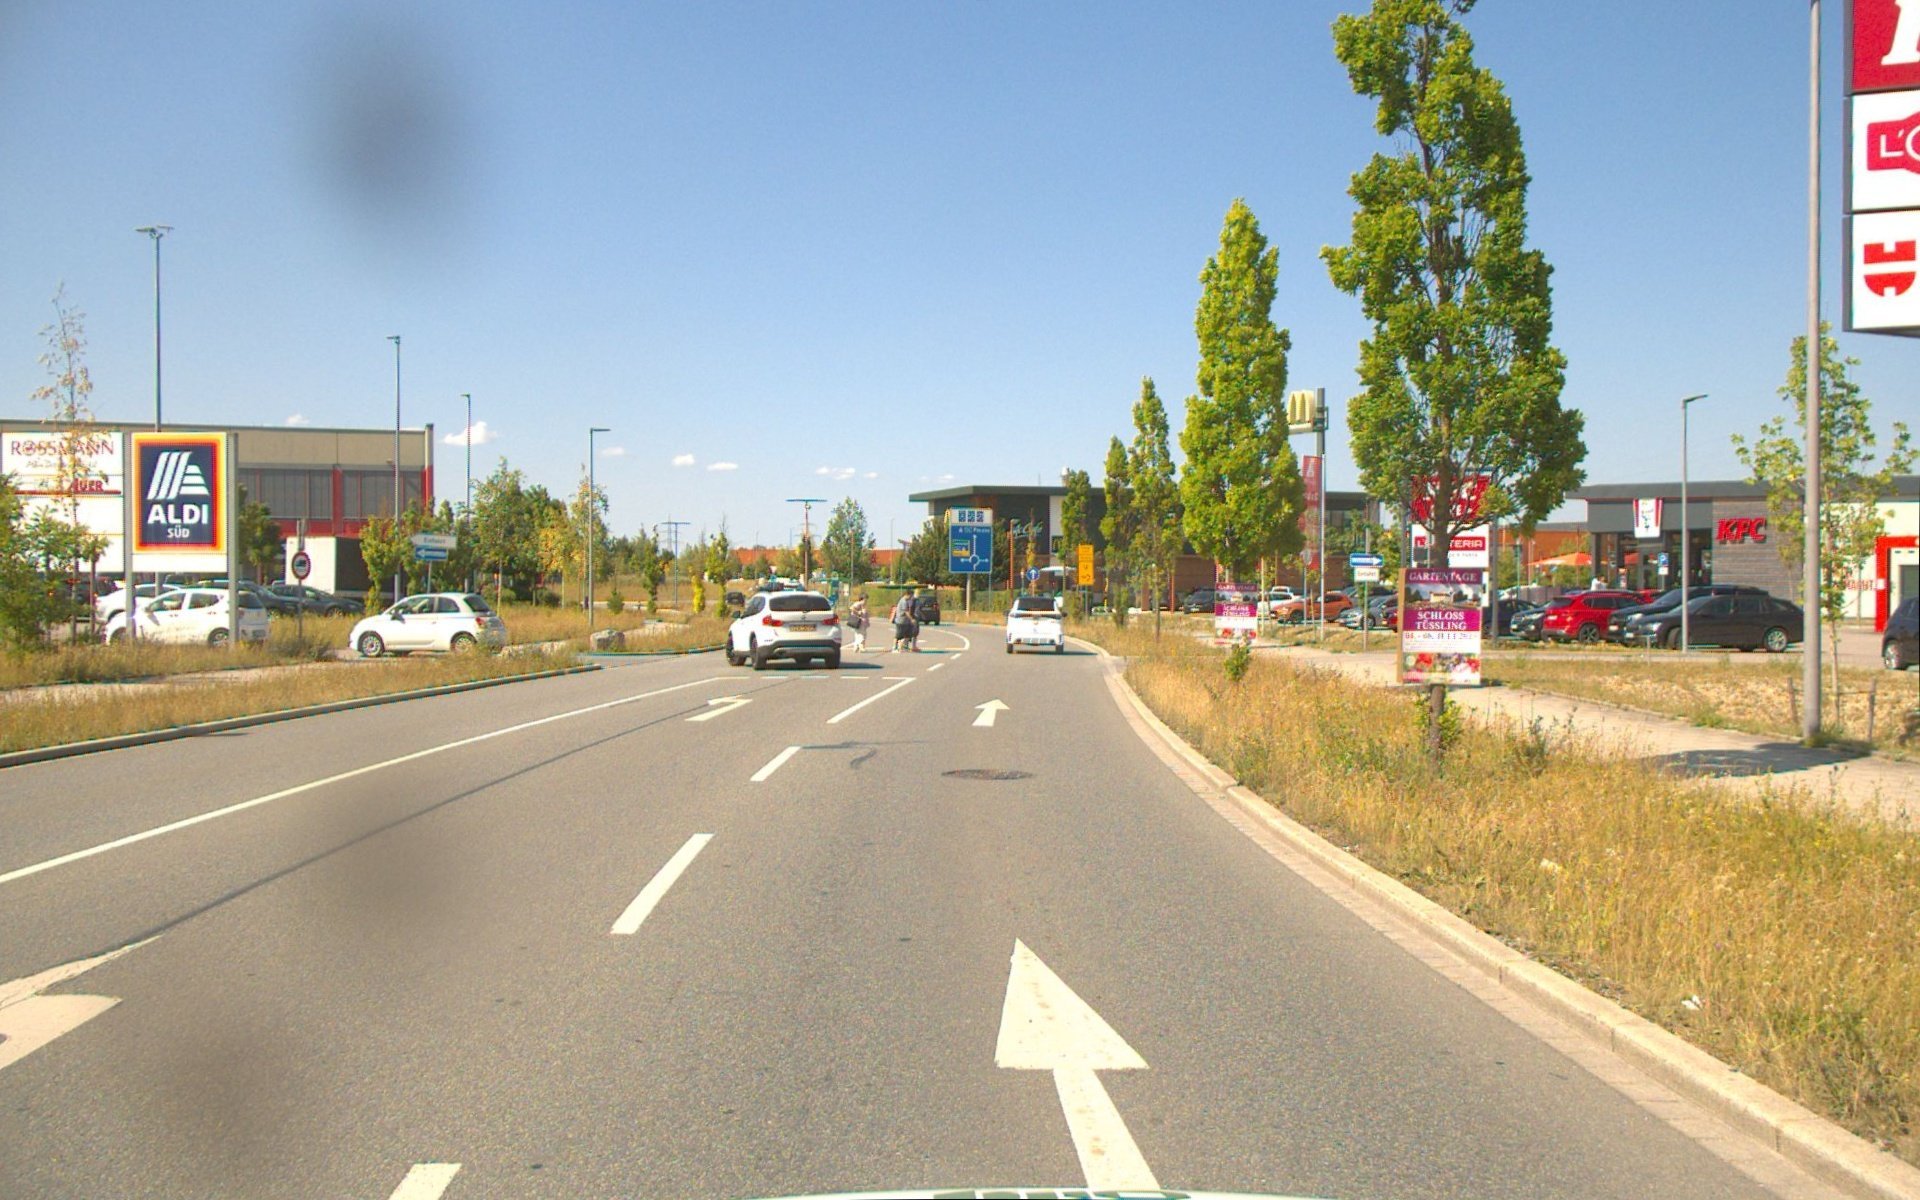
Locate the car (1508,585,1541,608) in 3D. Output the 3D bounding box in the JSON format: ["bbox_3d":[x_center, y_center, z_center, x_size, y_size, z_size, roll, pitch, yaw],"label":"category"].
[{"bbox_3d":[37.435,-0.217,109.637,1.749,1.476,4.168,0,0,23],"label":"car"}]

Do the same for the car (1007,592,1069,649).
[{"bbox_3d":[2.042,0.521,44.241,1.583,1.459,3.793,0,0,1],"label":"car"}]

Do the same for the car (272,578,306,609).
[{"bbox_3d":[-36.248,-0.341,89.398,1.637,1.643,4.057,0,0,-21],"label":"car"}]

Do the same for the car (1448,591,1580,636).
[{"bbox_3d":[19.446,0.475,58.272,4.312,1.474,1.793,-1,1,16],"label":"car"}]

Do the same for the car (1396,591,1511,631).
[{"bbox_3d":[19.849,0.416,66.542,4.080,1.474,1.786,-1,1,-12],"label":"car"}]

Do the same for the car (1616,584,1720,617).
[{"bbox_3d":[33.085,0.006,77.299,4.489,1.456,1.858,-1,1,-21],"label":"car"}]

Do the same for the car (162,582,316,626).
[{"bbox_3d":[-24.711,0.141,56.808,4.485,1.484,1.836,0,0,-4],"label":"car"}]

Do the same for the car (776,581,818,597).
[{"bbox_3d":[-15.822,-1.088,160.479,1.960,1.489,3.985,0,1,36],"label":"car"}]

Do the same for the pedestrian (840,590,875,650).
[{"bbox_3d":[-2.608,0.499,42.149,0.776,1.496,0.949,1,0,1],"label":"pedestrian"}]

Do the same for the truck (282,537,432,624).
[{"bbox_3d":[-25.729,-0.804,70.981,2.267,3.525,7.500,0,0,14],"label":"truck"}]

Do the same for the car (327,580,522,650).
[{"bbox_3d":[-12.541,0.337,38.864,3.902,1.574,1.919,0,0,7],"label":"car"}]

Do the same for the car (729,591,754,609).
[{"bbox_3d":[-18.538,-0.050,140.179,1.955,1.465,3.996,0,1,-6],"label":"car"}]

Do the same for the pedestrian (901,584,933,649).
[{"bbox_3d":[-1.104,0.421,42.545,0.784,1.658,0.805,1,0,1],"label":"pedestrian"}]

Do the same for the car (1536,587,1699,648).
[{"bbox_3d":[20.219,0.532,50.959,4.315,1.765,1.792,-1,1,1],"label":"car"}]

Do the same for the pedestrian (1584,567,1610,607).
[{"bbox_3d":[32.869,-0.660,85.376,0.898,2.049,0.887,0,0,-16],"label":"pedestrian"}]

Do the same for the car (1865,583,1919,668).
[{"bbox_3d":[18.568,0.471,30.378,1.743,1.567,4.170,0,0,2],"label":"car"}]

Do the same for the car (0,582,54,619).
[{"bbox_3d":[-41.272,0.023,72.851,1.805,1.589,4.355,0,0,-21],"label":"car"}]

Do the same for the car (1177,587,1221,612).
[{"bbox_3d":[14.664,-0.062,101.163,1.663,1.487,4.168,0,0,23],"label":"car"}]

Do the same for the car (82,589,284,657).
[{"bbox_3d":[-18.401,0.521,39.272,3.903,1.574,1.918,0,0,4],"label":"car"}]

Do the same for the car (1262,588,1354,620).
[{"bbox_3d":[17.529,0.194,83.385,4.131,1.516,1.863,-1,1,-13],"label":"car"}]

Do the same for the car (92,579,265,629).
[{"bbox_3d":[-24.377,0.119,51.695,4.516,1.538,1.836,0,0,-5],"label":"car"}]

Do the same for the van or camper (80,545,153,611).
[{"bbox_3d":[-43.905,-1.122,86.267,2.393,3.328,7.195,0,0,-19],"label":"van or camper"}]

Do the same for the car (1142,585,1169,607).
[{"bbox_3d":[14.853,-0.288,125.350,1.754,1.632,4.004,-1,0,11],"label":"car"}]

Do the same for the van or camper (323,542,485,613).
[{"bbox_3d":[-28.065,-1.121,83.779,7.563,3.529,2.546,0,0,-15],"label":"van or camper"}]

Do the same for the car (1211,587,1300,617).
[{"bbox_3d":[16.189,0.094,90.766,4.447,1.516,1.863,-1,1,-13],"label":"car"}]

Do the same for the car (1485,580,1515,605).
[{"bbox_3d":[39.052,-0.558,119.576,1.749,1.788,4.168,0,0,23],"label":"car"}]

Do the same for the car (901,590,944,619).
[{"bbox_3d":[-1.958,0.198,85.751,1.588,1.459,3.781,0,0,-12],"label":"car"}]

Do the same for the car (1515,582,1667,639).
[{"bbox_3d":[20.670,0.334,54.286,4.317,1.765,1.791,-1,1,-2],"label":"car"}]

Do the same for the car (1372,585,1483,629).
[{"bbox_3d":[19.467,0.269,69.000,4.073,1.694,1.867,-1,1,-5],"label":"car"}]

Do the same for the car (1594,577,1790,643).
[{"bbox_3d":[21.179,0.263,47.959,4.883,1.765,1.938,-1,1,-4],"label":"car"}]

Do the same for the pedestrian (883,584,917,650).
[{"bbox_3d":[-1.516,0.430,42.006,0.792,1.657,0.866,1,0,1],"label":"pedestrian"}]

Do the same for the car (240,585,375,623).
[{"bbox_3d":[-24.492,0.145,62.202,4.336,1.407,1.974,0,0,-4],"label":"car"}]

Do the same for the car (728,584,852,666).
[{"bbox_3d":[-3.597,0.473,34.371,1.880,1.574,4.208,0,0,-16],"label":"car"}]

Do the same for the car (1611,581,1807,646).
[{"bbox_3d":[19.809,0.346,43.837,4.319,1.594,1.994,-1,1,-4],"label":"car"}]

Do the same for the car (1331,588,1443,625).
[{"bbox_3d":[18.965,0.292,73.594,4.471,1.516,1.865,-1,1,-9],"label":"car"}]
